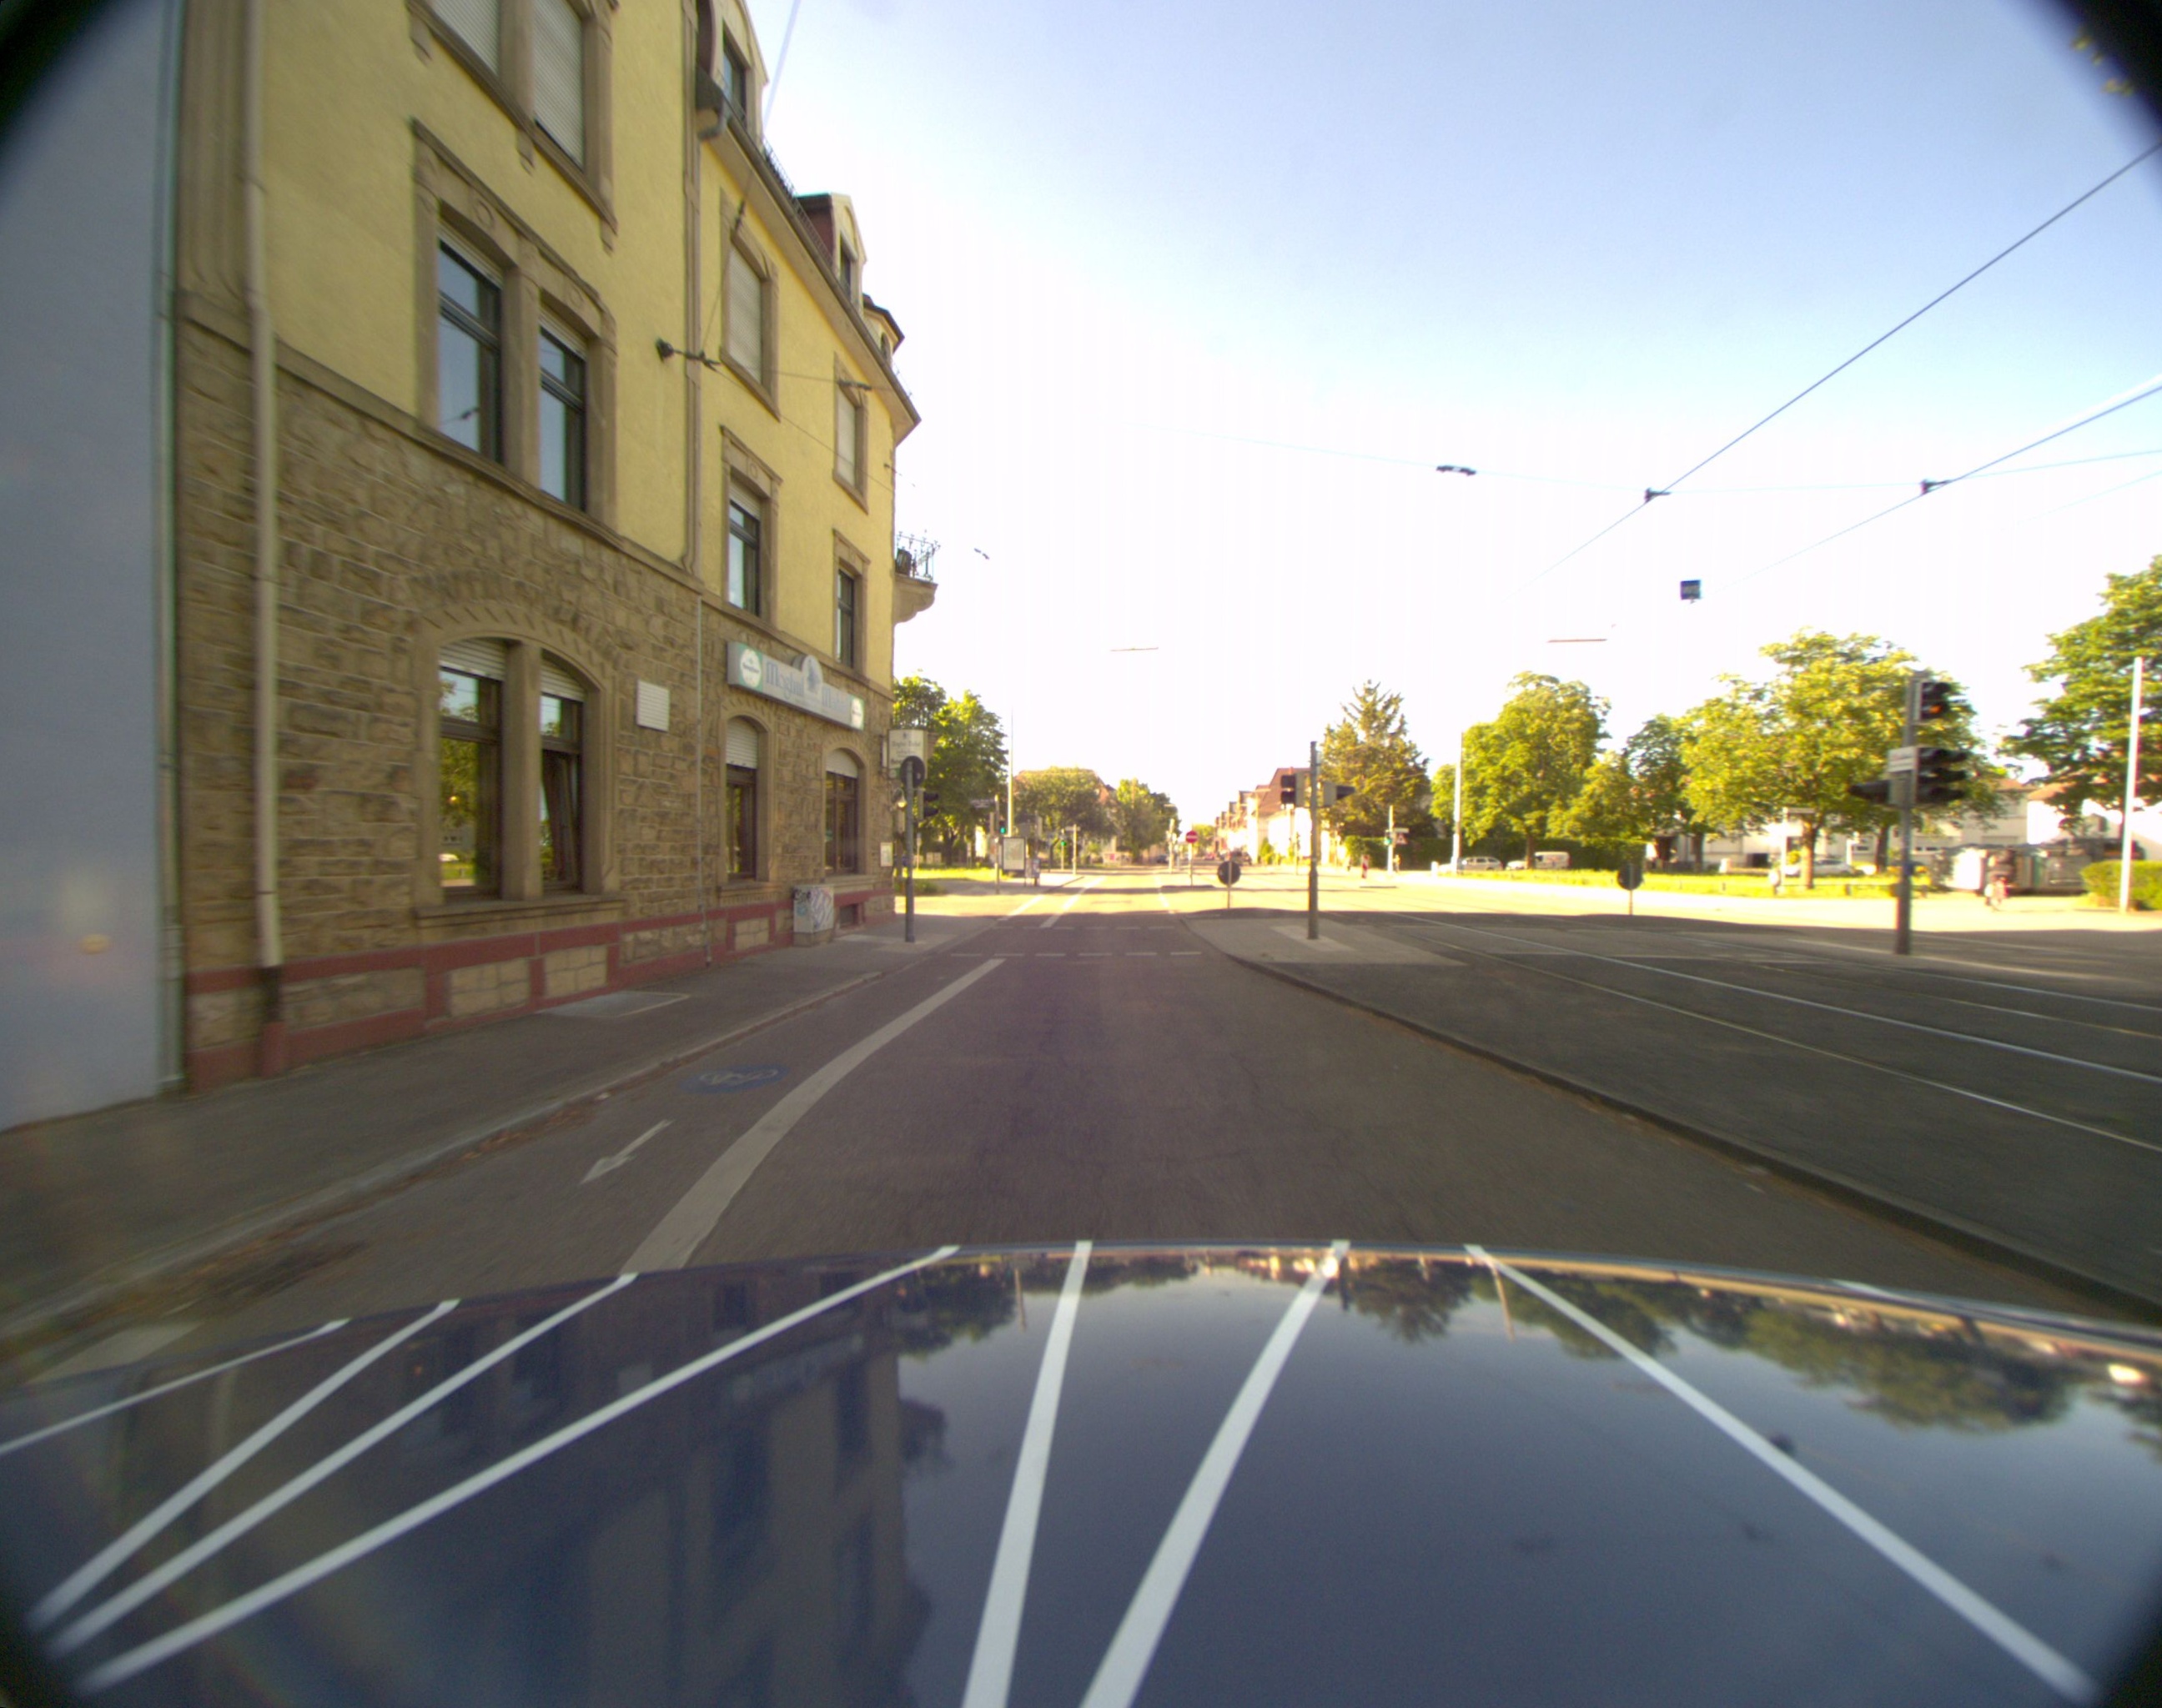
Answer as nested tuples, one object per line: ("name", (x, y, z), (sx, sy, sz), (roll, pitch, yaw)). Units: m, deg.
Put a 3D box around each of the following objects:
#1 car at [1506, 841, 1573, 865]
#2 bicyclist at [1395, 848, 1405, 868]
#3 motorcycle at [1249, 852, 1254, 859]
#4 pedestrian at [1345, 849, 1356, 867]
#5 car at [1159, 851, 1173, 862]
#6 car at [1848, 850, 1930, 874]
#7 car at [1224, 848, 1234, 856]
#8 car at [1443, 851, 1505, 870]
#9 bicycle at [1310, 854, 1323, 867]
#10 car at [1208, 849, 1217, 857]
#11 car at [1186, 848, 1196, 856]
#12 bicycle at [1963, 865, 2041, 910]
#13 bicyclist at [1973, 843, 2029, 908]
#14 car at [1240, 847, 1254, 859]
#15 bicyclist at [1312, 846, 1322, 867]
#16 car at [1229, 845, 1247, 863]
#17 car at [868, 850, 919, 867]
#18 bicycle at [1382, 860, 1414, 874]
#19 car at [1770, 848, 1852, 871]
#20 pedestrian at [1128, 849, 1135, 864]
("car", (37.002, -0.057, 61.432), (4.308, 1.856, 1.818), (-1, 1, 10))
("bicyclist", (25.729, 0.329, 61.283), (0.558, 1.613, 0.899), (0, 1, 16))
("motorcycle", (24.195, 0.187, 107.721), (0.605, 1.040, 2.439), (-2, 0, 10))
("pedestrian", (23.220, 0.335, 65.509), (0.680, 1.548, 0.622), (-2, 0, -40))
("car", (13.565, 0.379, 121.571), (1.703, 1.541, 4.004), (-2, 0, 13))
("car", (60.571, 0.604, 57.023), (3.881, 1.732, 1.818), (0, 1, 10))
("car", (33.616, -0.470, 172.828), (1.922, 1.705, 4.003), (-2, 0, 9))
("car", (30.878, 0.504, 59.835), (3.992, 1.425, 1.818), (0, 0, 14))
("bicycle", (19.534, 0.526, 63.081), (0.588, 1.107, 1.827), (1, 0, 5))
("car", (29.947, -0.225, 172.877), (1.922, 1.705, 4.004), (-2, 0, 12))
("car", (24.654, -0.391, 169.732), (1.922, 1.705, 4.003), (-2, 0, 10))
("bicycle", (23.145, 0.816, 19.131), (0.645, 1.036, 1.929), (-2, 0, 31))
("bicyclist", (23.132, 0.535, 19.122), (0.645, 1.602, 0.782), (-2, 0, 31))
("car", (26.753, -0.194, 122.648), (1.922, 1.890, 4.003), (-2, 0, 11))
("bicyclist", (19.546, 0.188, 62.999), (0.588, 1.701, 0.902), (1, 1, 5))
("car", (18.942, -0.003, 92.068), (2.023, 2.001, 5.255), (1, -1, 11))
("car", (-16.697, 0.427, 67.786), (3.995, 1.425, 1.818), (0, -1, 6))
("bicycle", (25.588, 1.048, 61.348), (2.282, 1.111, 0.931), (0, 1, 16))
("car", (55.733, 0.430, 58.084), (4.194, 1.732, 1.818), (0, 0, 10))
("pedestrian", (5.650, 0.283, 84.953), (0.654, 1.664, 0.944), (2, 1, 10))
